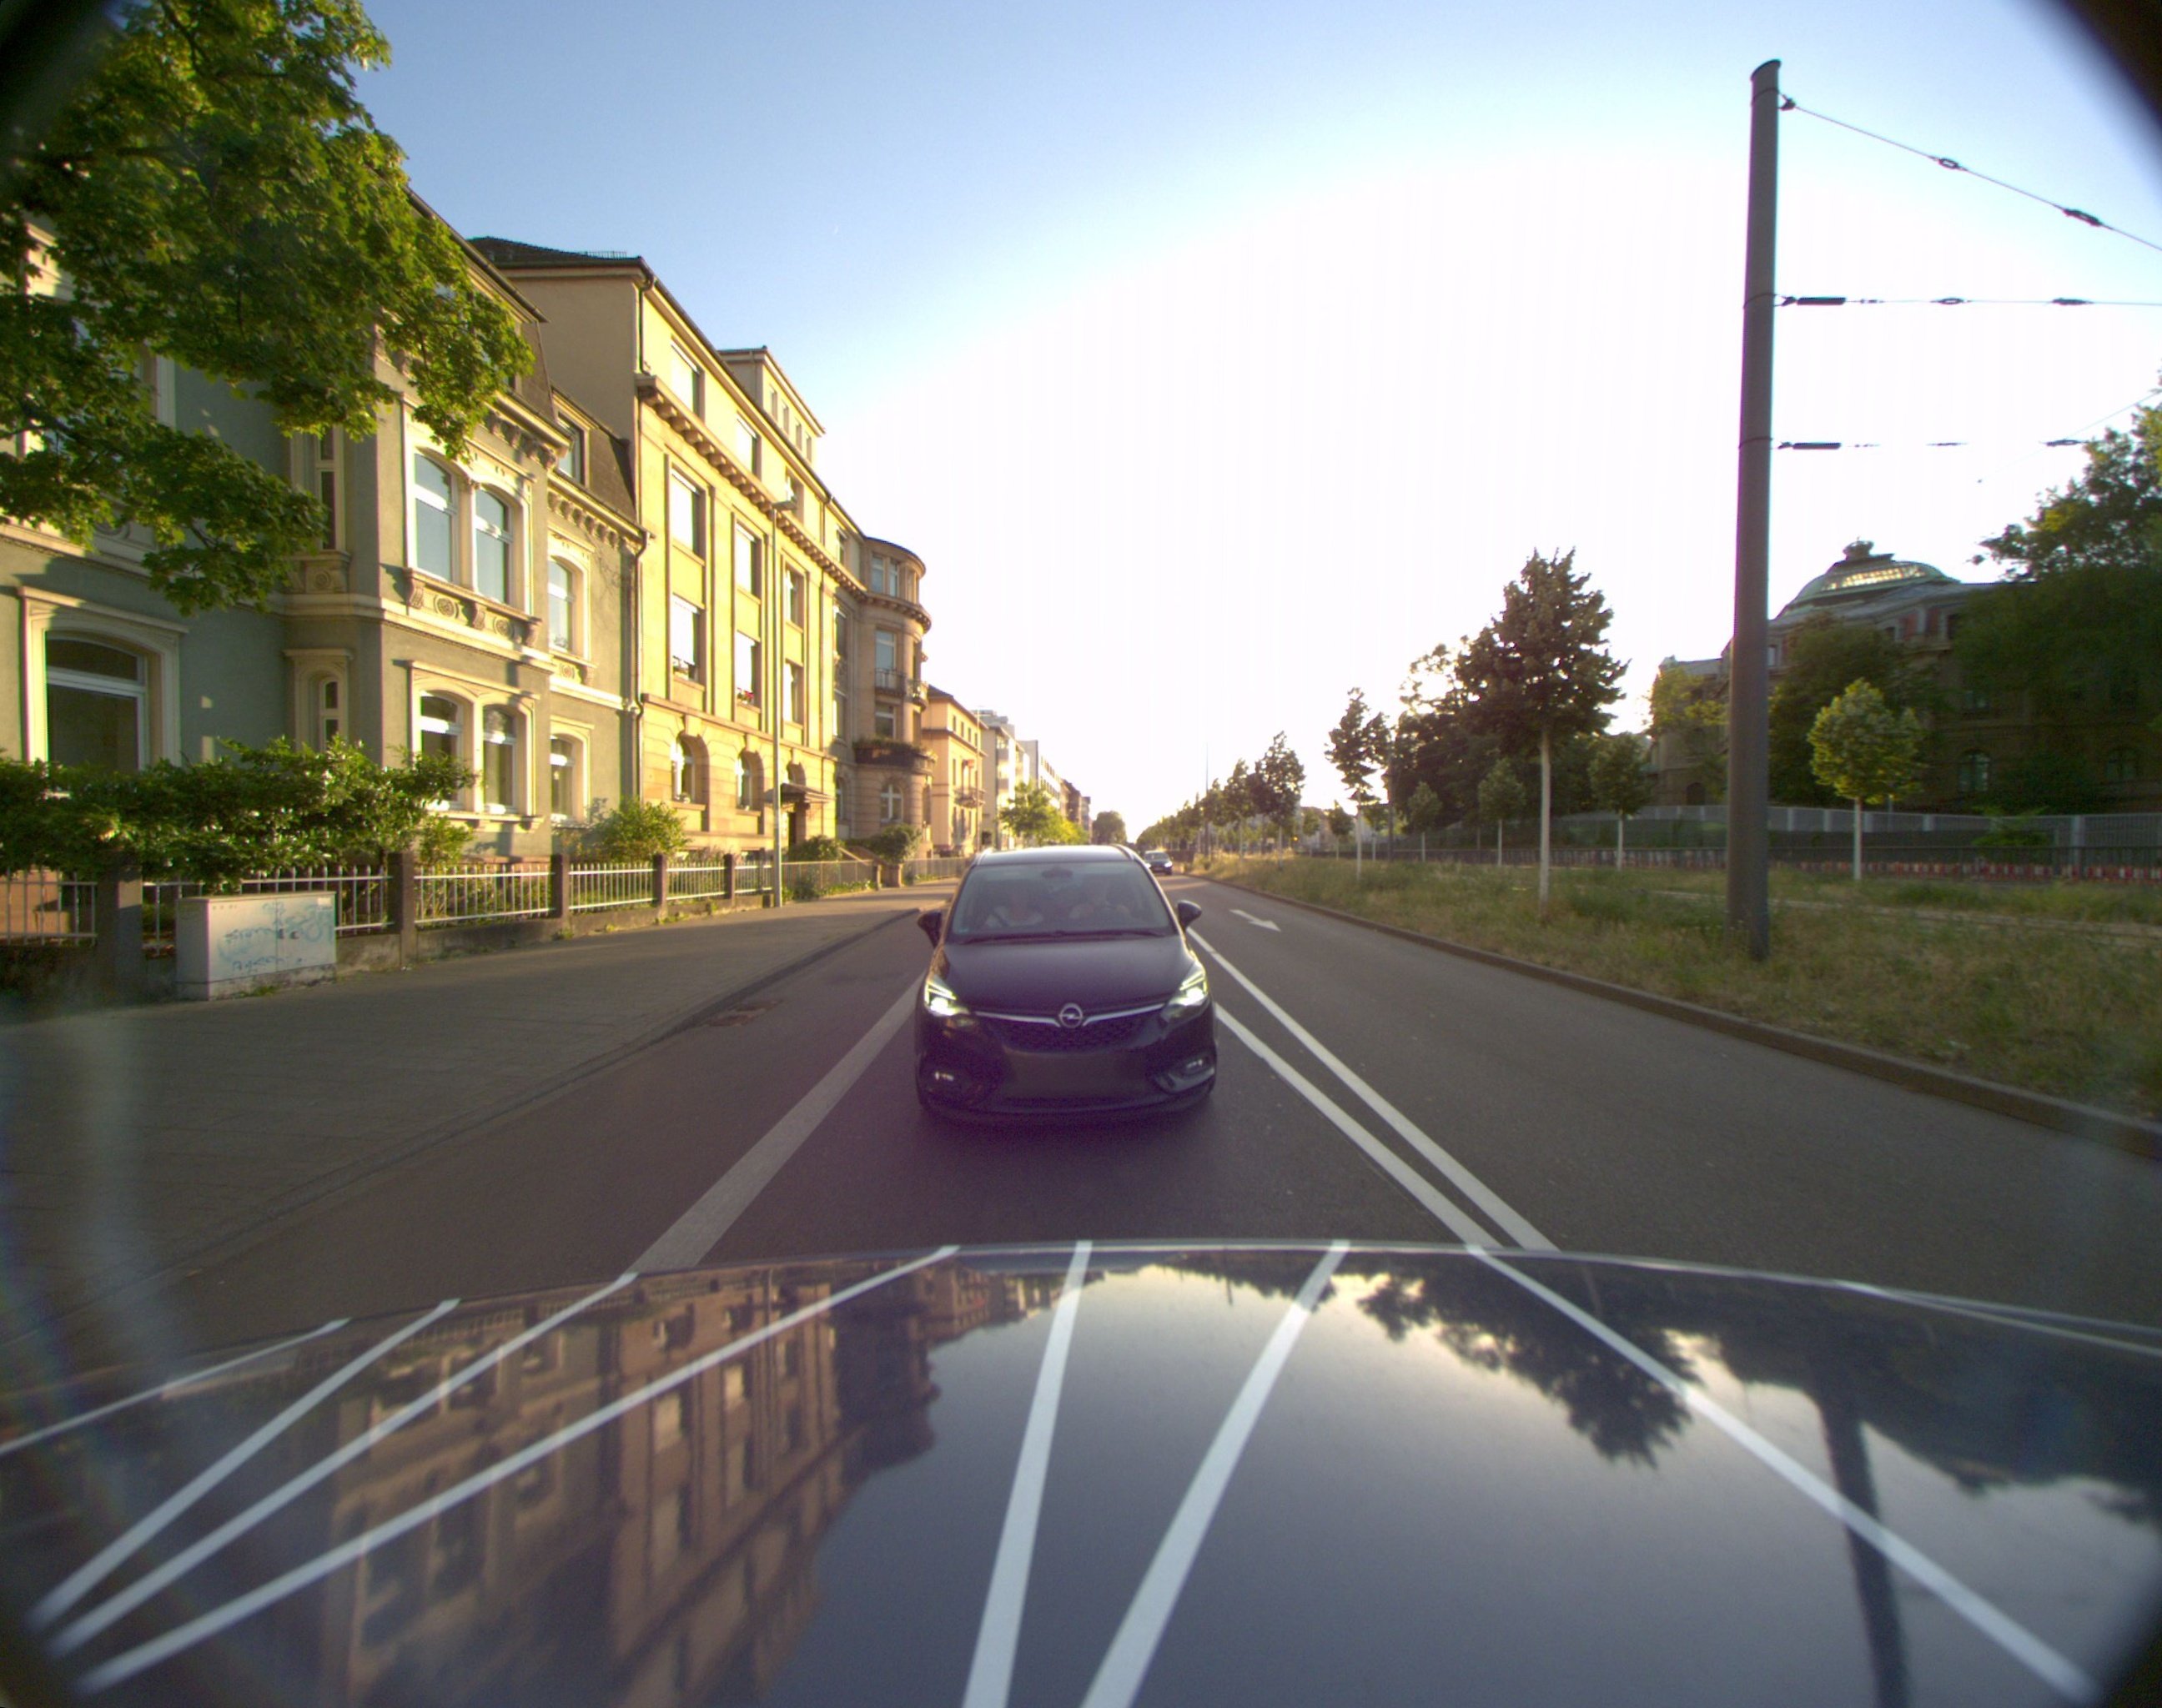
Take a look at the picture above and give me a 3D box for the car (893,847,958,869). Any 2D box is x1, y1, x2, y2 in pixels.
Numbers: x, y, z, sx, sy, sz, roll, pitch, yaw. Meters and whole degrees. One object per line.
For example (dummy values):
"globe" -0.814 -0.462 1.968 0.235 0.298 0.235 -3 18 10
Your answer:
"car" -11.015 0.244 53.938 4.096 1.472 1.938 -1 1 3

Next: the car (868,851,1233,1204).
"car" -0.271 0.837 6.156 1.771 1.649 4.850 -1 1 -3

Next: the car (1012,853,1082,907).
"car" -0.946 0.740 23.037 1.859 1.425 4.843 -2 -1 -1

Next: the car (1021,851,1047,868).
"car" -3.856 0.433 62.899 1.882 1.394 4.100 -1 0 1

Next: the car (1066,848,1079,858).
"car" -1.409 -0.193 121.625 1.937 1.472 4.100 -1 0 1

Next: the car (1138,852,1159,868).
"car" 6.684 0.617 75.670 1.859 1.425 4.844 -2 -1 2

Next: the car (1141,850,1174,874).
"car" 4.886 0.535 49.258 1.859 1.425 4.844 -2 -1 3

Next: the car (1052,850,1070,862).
"car" -2.399 0.235 91.981 1.937 1.472 4.100 -1 0 1

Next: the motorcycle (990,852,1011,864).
"motorcycle" -7.467 0.365 70.267 1.848 1.090 0.576 -1 1 8
